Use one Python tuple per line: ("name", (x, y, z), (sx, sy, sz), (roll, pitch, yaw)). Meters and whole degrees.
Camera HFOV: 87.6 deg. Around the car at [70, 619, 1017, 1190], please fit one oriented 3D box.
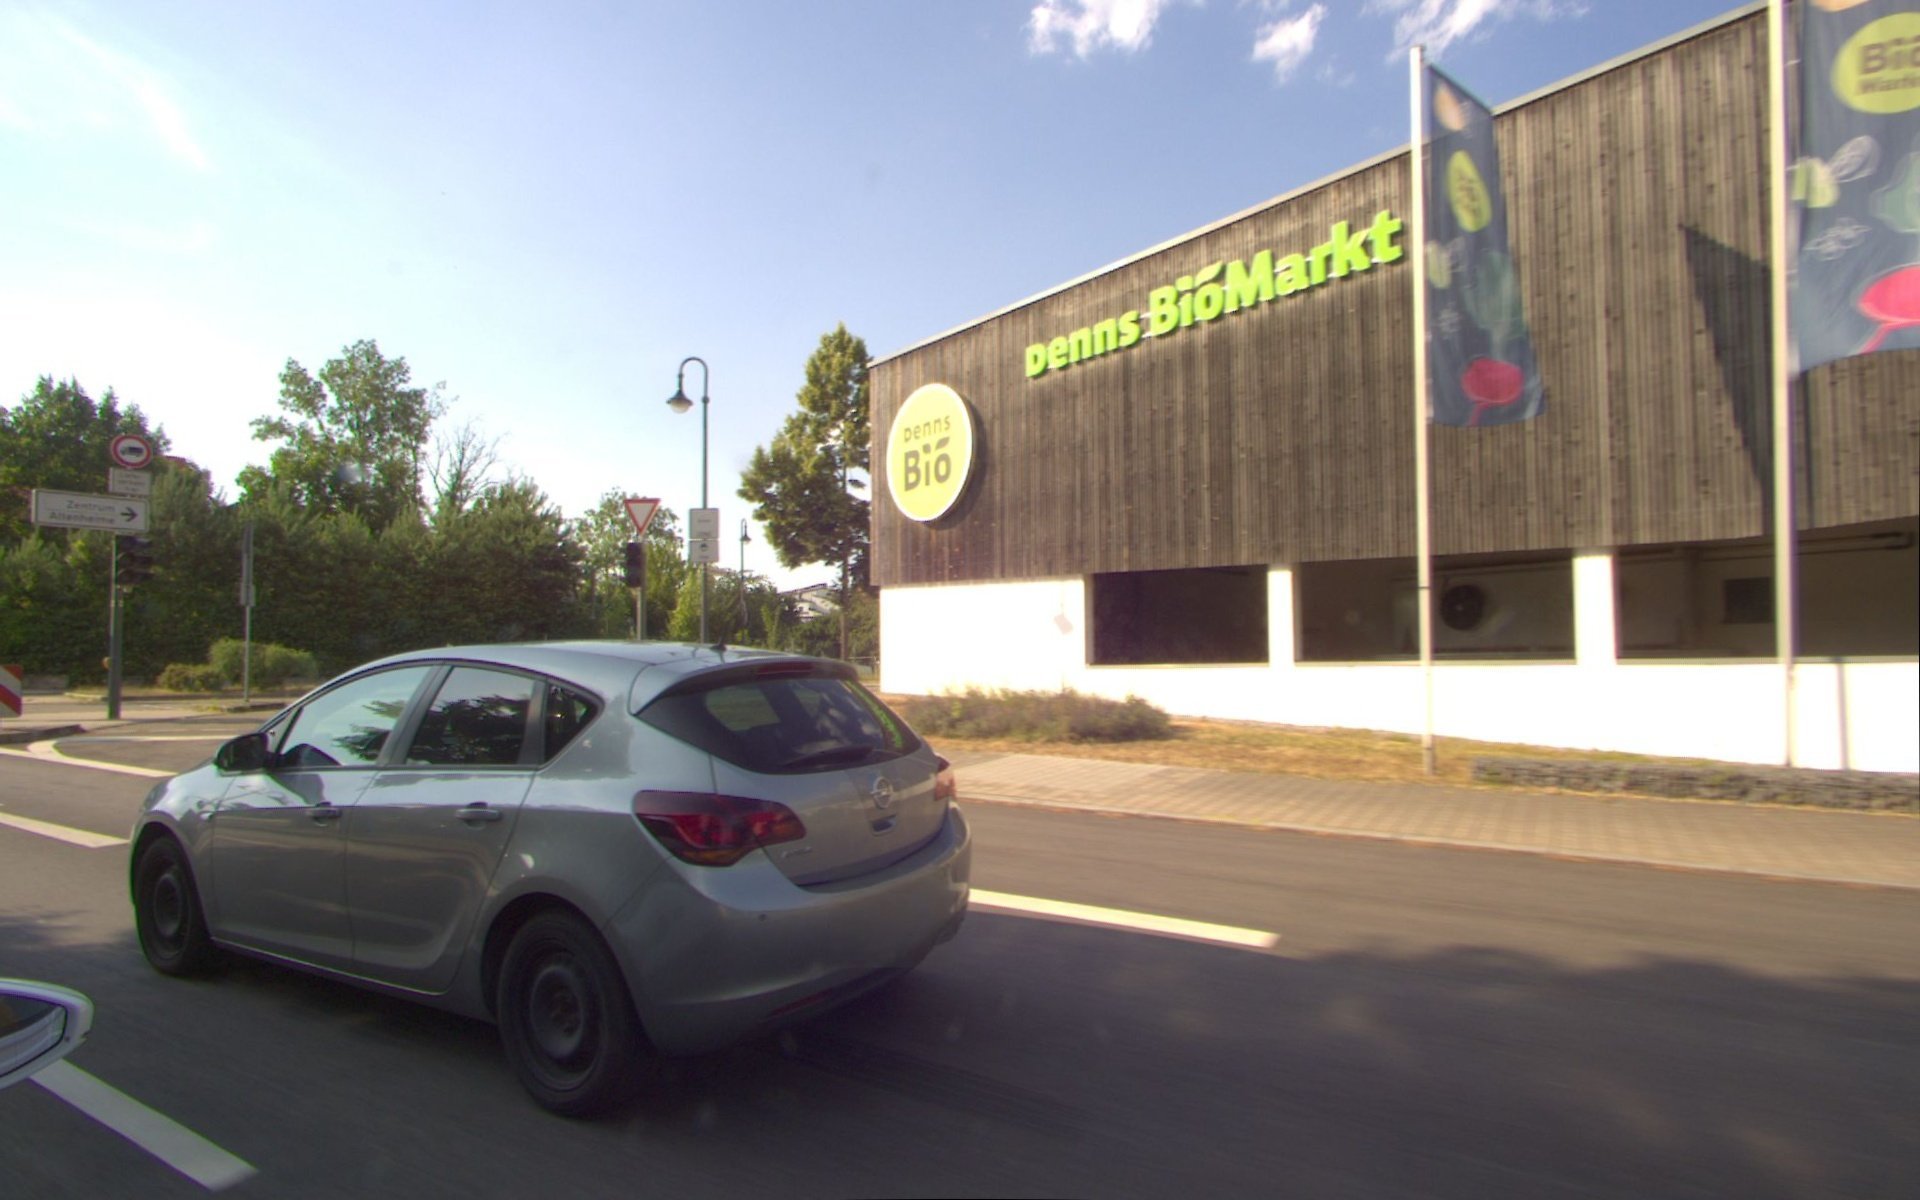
("car", (-2.020, 0.852, 4.486), (4.242, 1.509, 1.719), (-1, -2, 31))
